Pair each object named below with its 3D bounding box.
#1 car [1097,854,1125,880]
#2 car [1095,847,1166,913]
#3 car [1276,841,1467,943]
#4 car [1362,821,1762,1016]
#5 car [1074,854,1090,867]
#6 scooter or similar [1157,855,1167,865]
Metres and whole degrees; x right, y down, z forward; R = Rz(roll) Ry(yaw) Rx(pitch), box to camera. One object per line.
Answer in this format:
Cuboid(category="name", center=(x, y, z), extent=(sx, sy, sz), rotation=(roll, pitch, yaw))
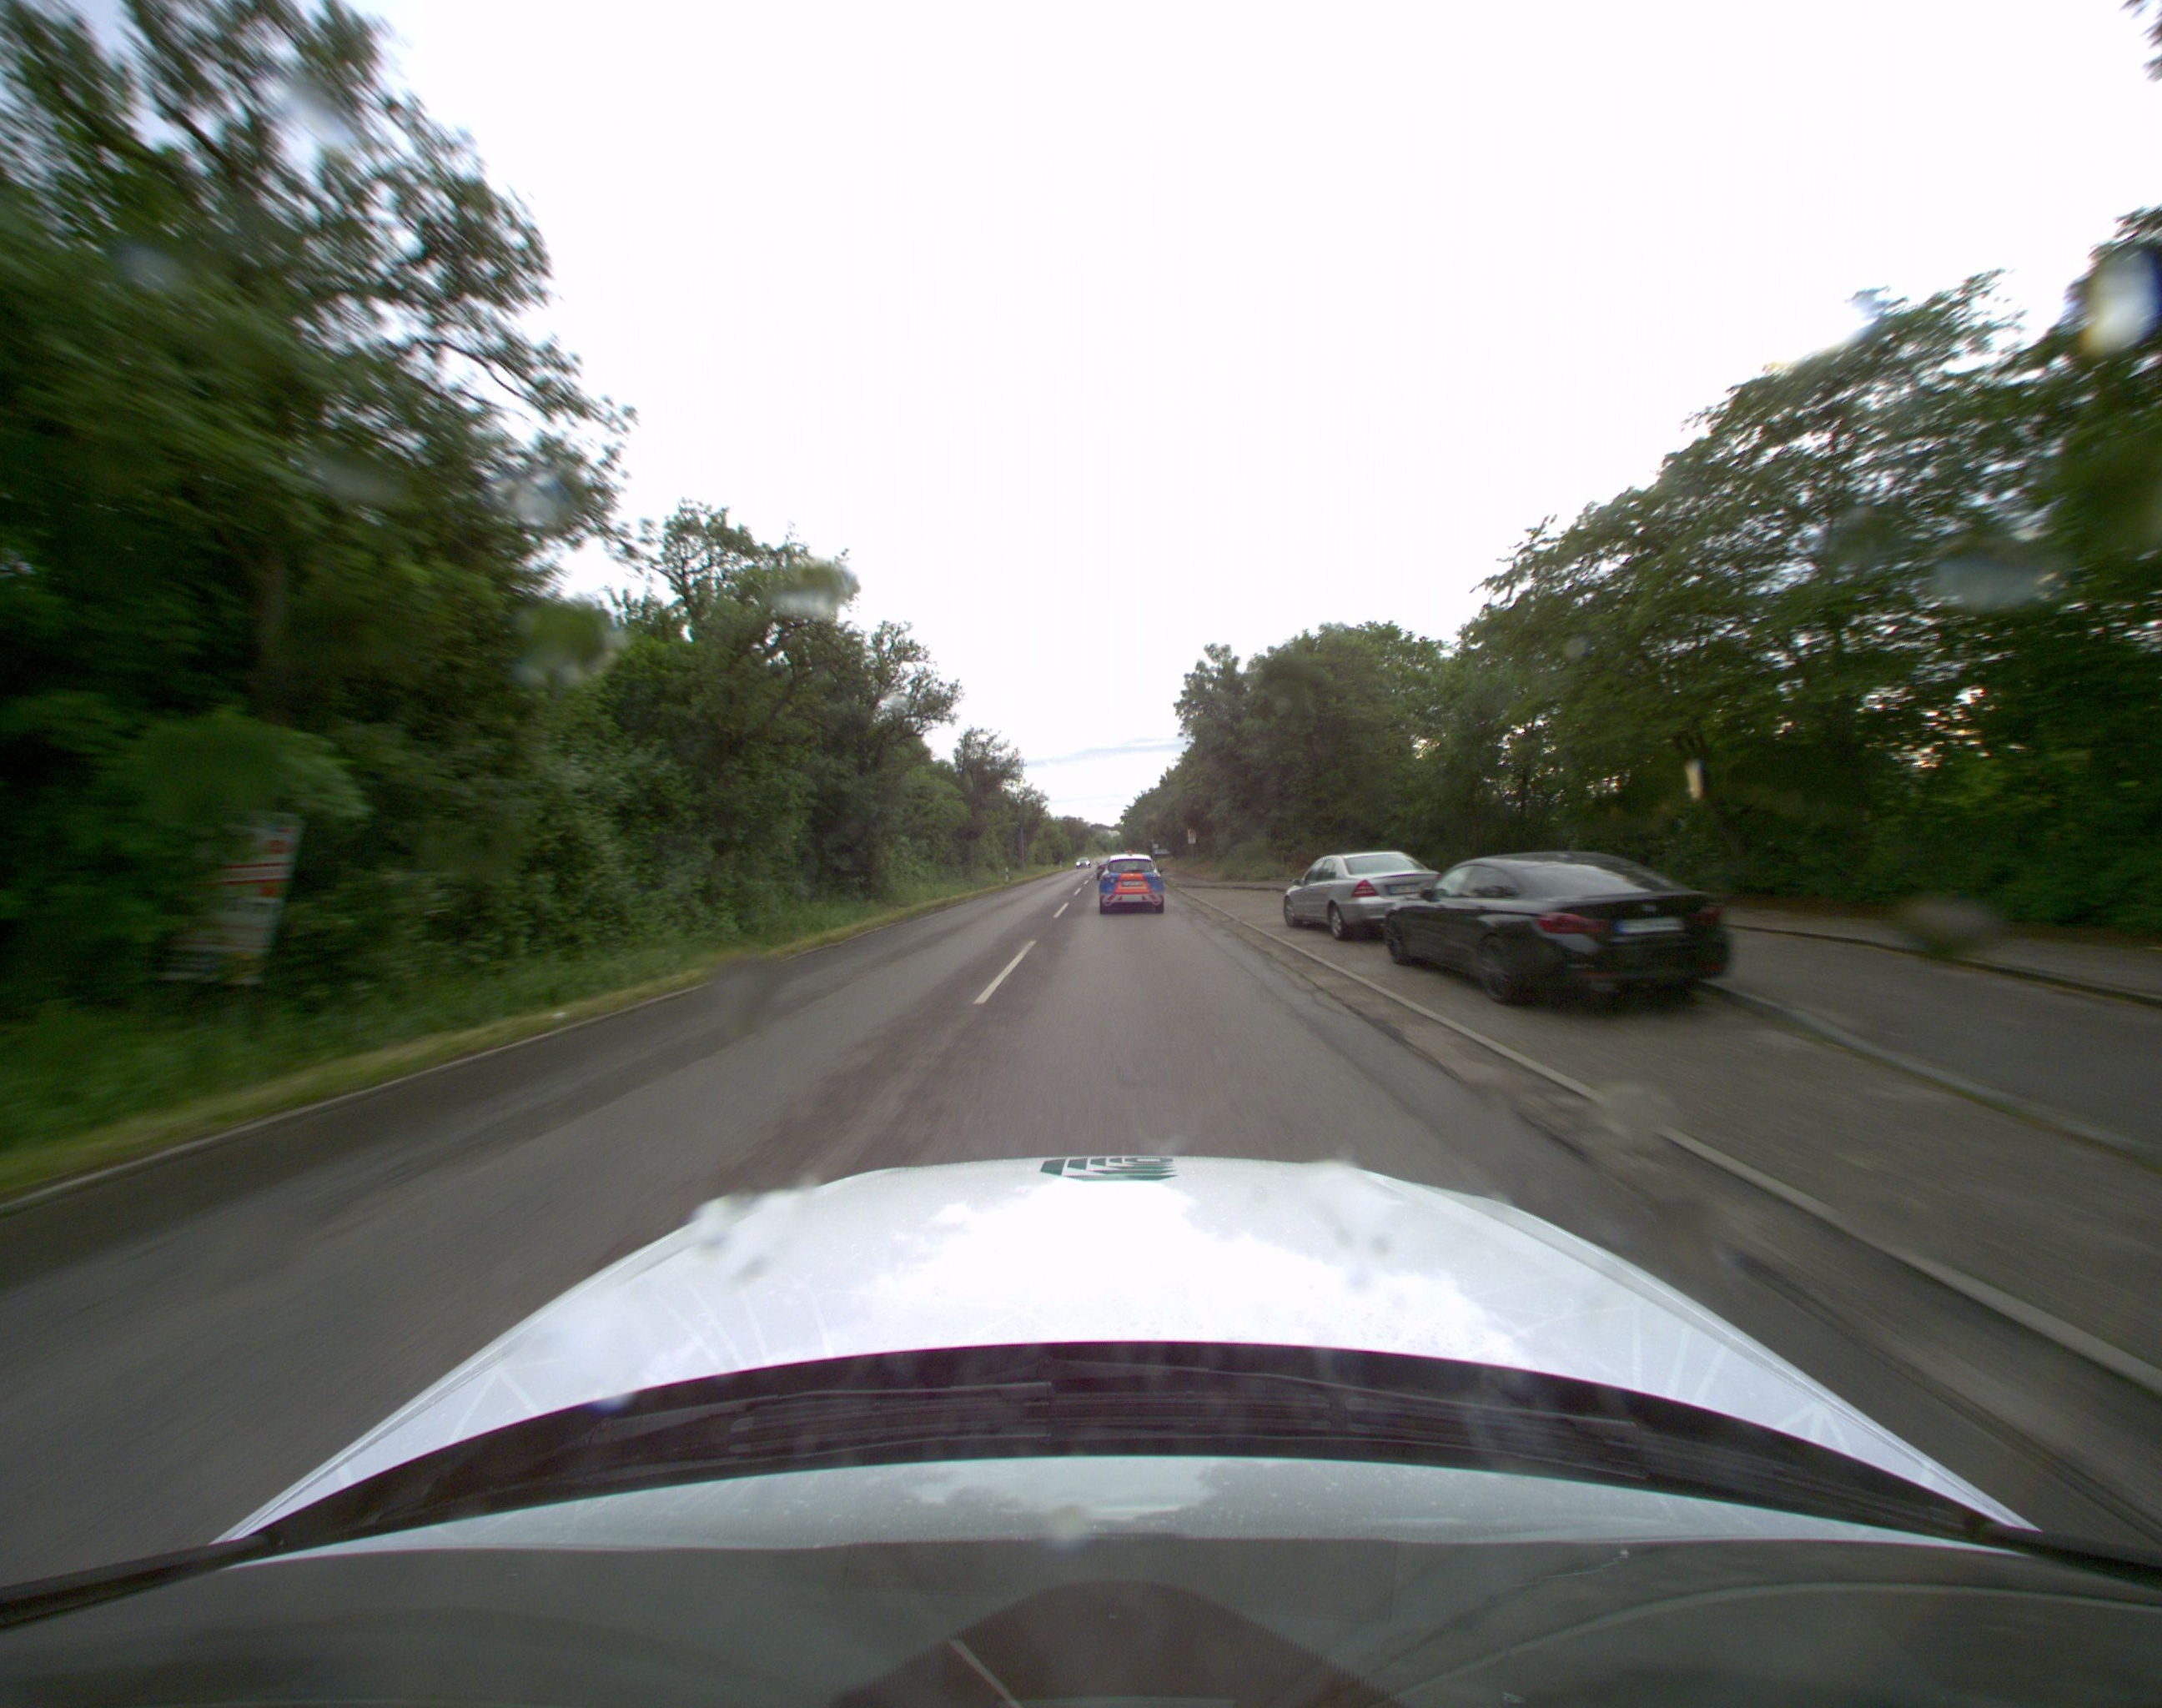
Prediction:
Cuboid(category="car", center=(1.940, 0.815, 51.391), extent=(1.687, 1.595, 3.858), rotation=(-1, 0, 3))
Cuboid(category="car", center=(1.334, 0.686, 22.751), extent=(1.799, 1.668, 3.857), rotation=(-1, 0, 2))
Cuboid(category="car", center=(5.039, 0.619, 14.811), extent=(1.740, 1.468, 4.216), rotation=(-4, -1, -3))
Cuboid(category="car", center=(4.869, 0.558, 9.223), extent=(1.799, 1.510, 4.669), rotation=(-5, -1, 2))
Cuboid(category="car", center=(0.184, 0.885, 111.263), extent=(1.864, 1.489, 4.576), rotation=(-5, -1, 2))
Cuboid(category="scooter or similar", center=(10.331, 0.810, 104.230), extent=(1.311, 1.206, 0.376), rotation=(-3, -1, 43))
